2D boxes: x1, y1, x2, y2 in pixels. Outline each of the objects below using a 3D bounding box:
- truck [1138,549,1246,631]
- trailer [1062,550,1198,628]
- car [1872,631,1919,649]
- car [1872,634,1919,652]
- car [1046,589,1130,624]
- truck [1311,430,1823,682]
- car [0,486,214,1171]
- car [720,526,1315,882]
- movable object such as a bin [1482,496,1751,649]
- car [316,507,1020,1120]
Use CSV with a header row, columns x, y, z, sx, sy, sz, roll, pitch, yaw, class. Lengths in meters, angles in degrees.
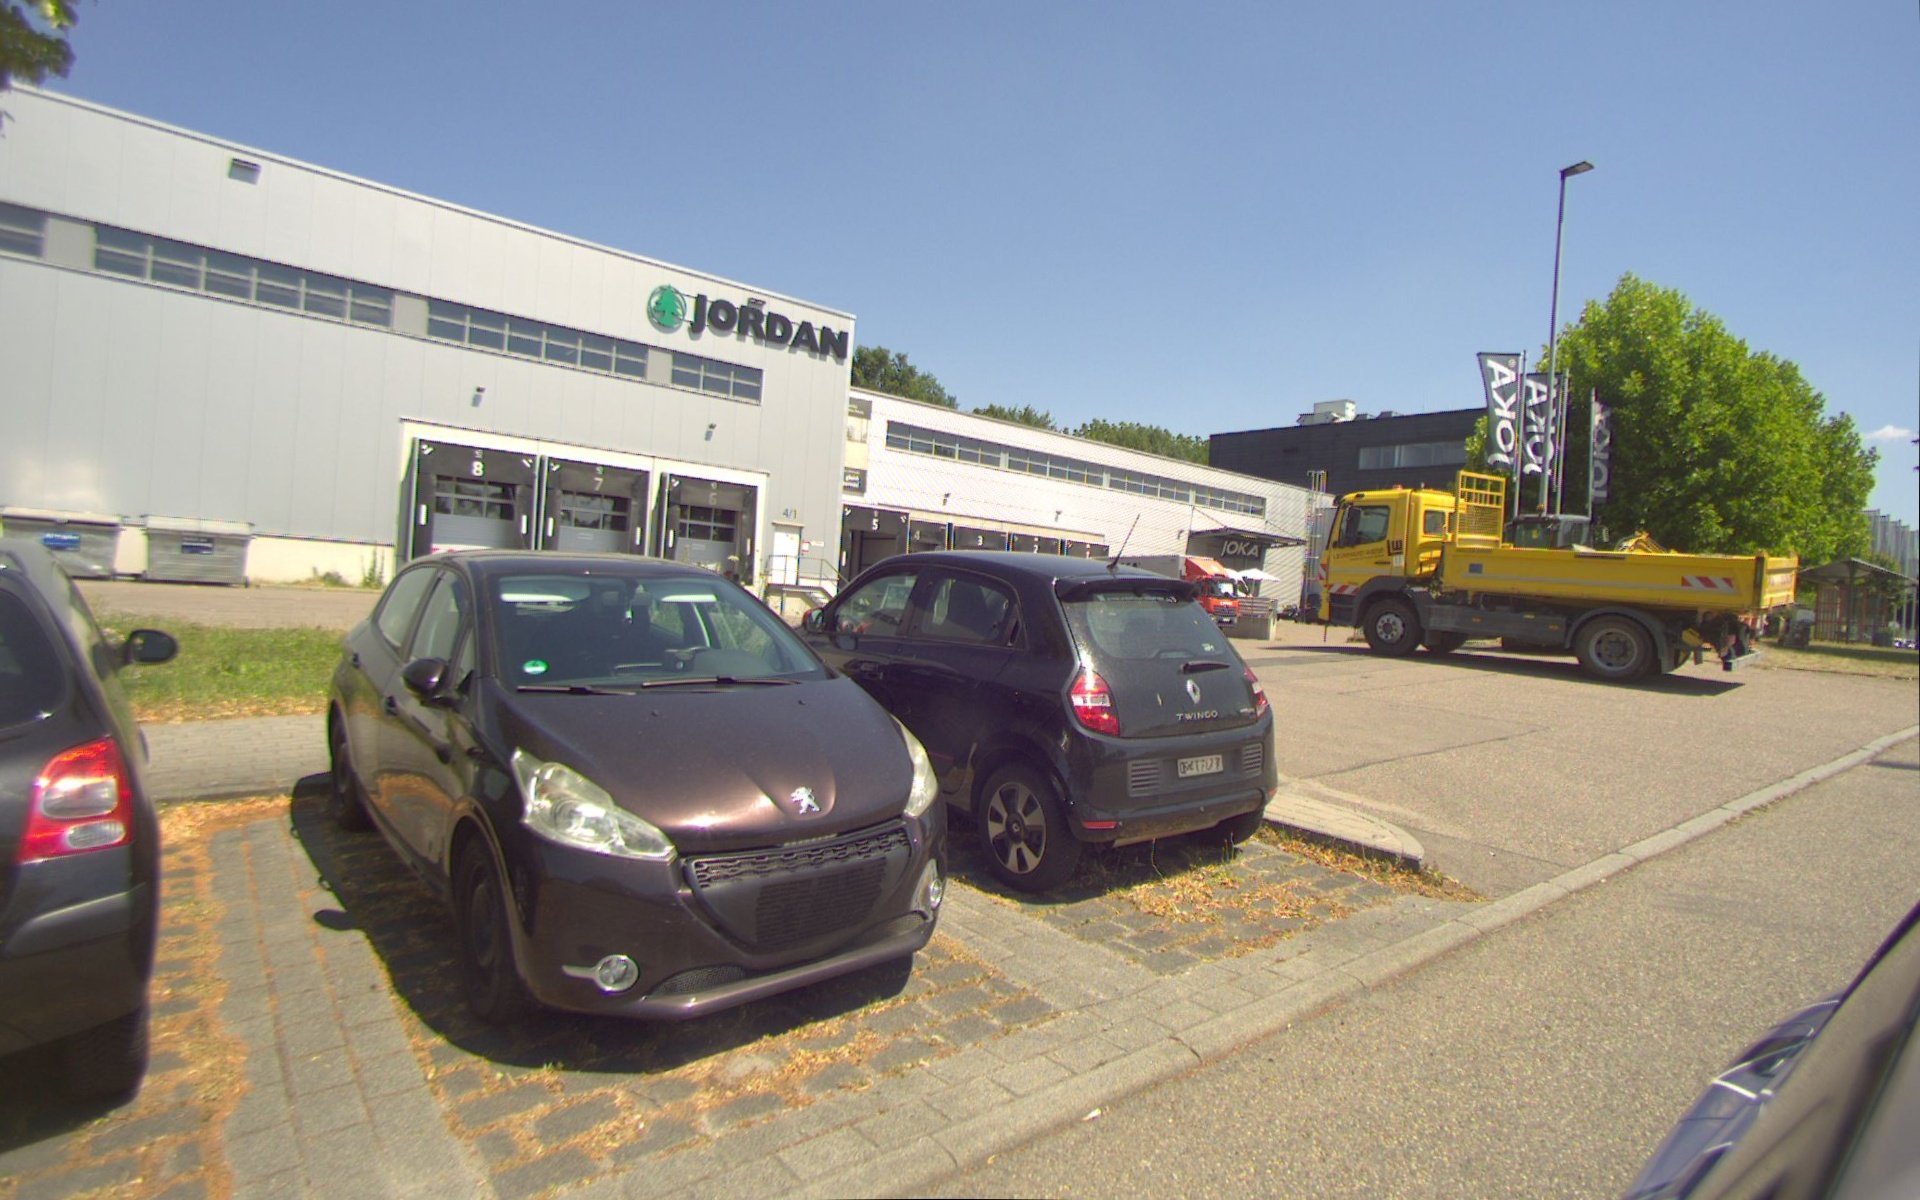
x,y,z,sx,sy,sz,roll,pitch,yaw,class
10.758,-0.476,47.102,2.119,3.496,4.340,6,-3,-40,truck
8.279,-0.569,50.034,2.138,3.503,6.703,6,-3,-40,trailer
79.213,3.356,84.840,1.674,1.290,3.889,2,1,-39,car
80.815,3.716,86.621,1.674,1.290,3.889,2,1,-39,car
6.052,0.299,48.157,1.774,1.419,3.792,5,-1,-38,car
9.193,-0.715,15.991,2.551,3.174,6.414,0,3,-42,truck
-3.569,0.423,3.303,1.599,1.497,3.610,1,1,-40,car
0.065,0.348,6.237,1.597,1.480,3.672,1,3,-38,car
13.012,-0.476,19.853,6.450,2.613,2.001,1,1,-34,movable object such as a bin
-1.619,0.461,4.469,1.562,1.526,3.779,1,2,-40,car
